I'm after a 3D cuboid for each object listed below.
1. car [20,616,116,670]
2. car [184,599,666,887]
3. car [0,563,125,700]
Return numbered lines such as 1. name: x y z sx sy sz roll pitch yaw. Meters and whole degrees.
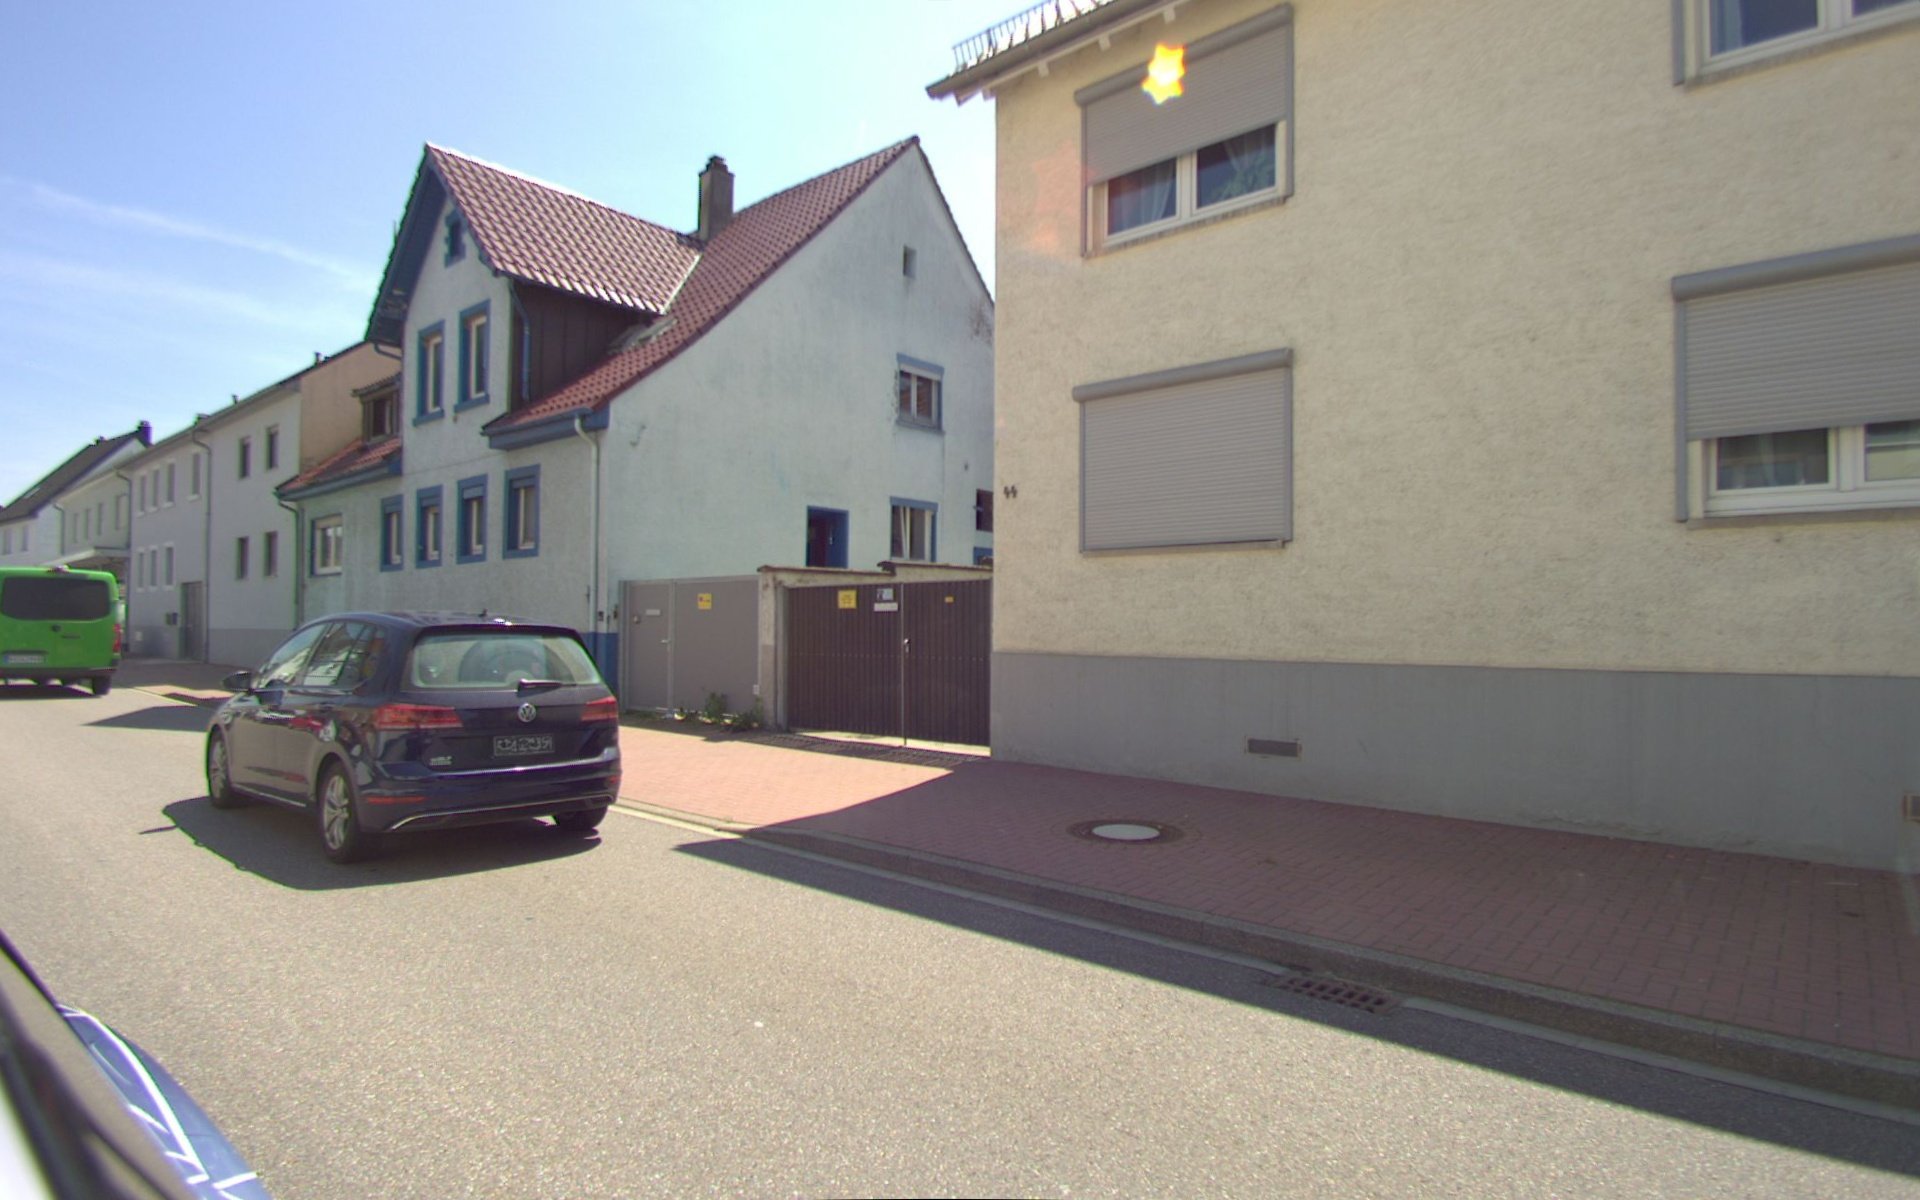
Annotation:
1. car: -28.818 1.324 32.657 4.563 1.569 1.789 -1 0 42
2. car: -4.100 0.835 7.471 4.076 1.548 1.746 -1 -3 41
3. car: -18.486 0.626 20.078 6.080 2.372 2.029 -1 -3 42
